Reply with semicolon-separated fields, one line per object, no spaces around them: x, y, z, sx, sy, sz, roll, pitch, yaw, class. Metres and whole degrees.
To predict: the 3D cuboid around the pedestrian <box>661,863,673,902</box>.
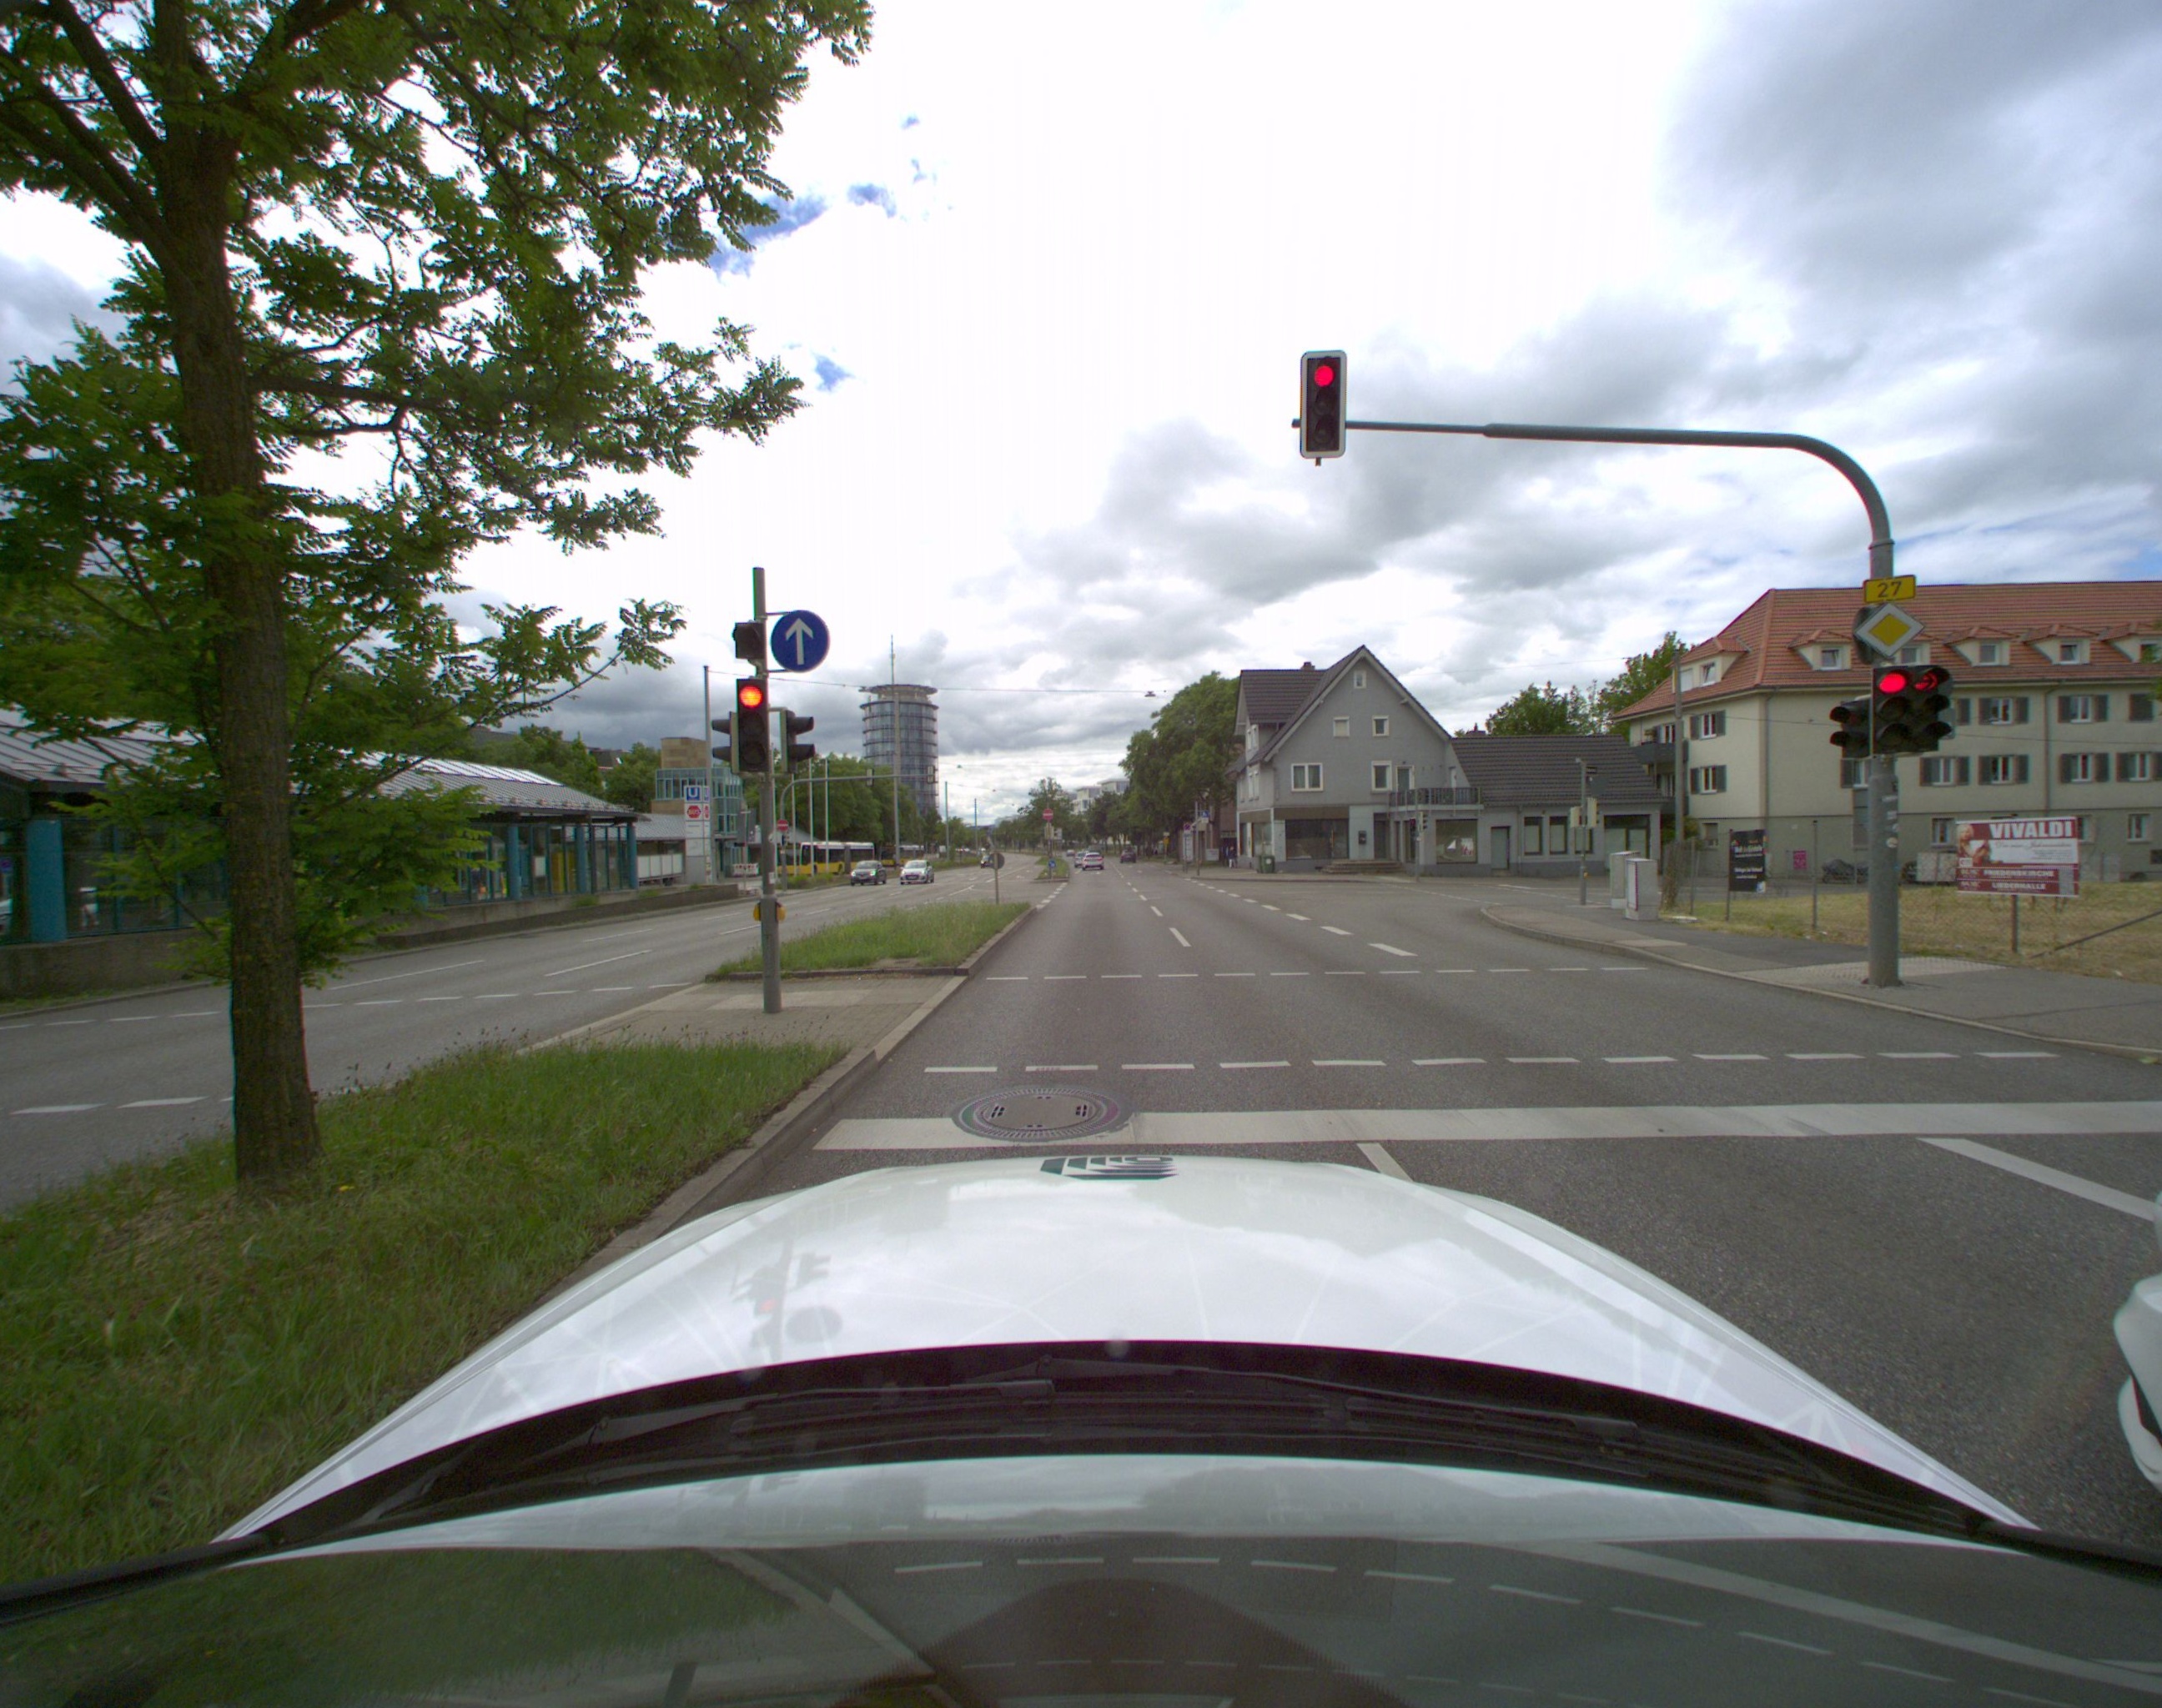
-17.275;1.176;33.994;0.420;1.591;0.353;-2;0;-28;pedestrian

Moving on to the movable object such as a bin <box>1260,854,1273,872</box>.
10.030;0.480;43.954;0.527;0.979;0.737;-2;0;2;movable object such as a bin

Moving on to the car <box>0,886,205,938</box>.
-28.280;1.618;23.438;1.818;1.168;3.997;-2;0;-2;car

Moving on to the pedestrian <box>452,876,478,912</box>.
-27.512;1.770;36.358;0.631;1.571;0.662;0;-1;6;pedestrian

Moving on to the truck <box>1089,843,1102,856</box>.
2.764;-0.808;156.669;2.246;2.416;4.928;-1;0;-3;truck

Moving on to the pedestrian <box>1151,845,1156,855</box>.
11.851;-0.638;133.239;0.649;1.570;0.669;-2;0;-6;pedestrian

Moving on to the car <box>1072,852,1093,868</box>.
0.177;0.602;82.079;1.815;1.540;4.117;-1;0;3;car

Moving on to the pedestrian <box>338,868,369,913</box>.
-27.554;1.372;30.863;0.520;1.655;0.709;-1;0;-5;pedestrian

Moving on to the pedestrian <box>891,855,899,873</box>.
-19.911;1.072;87.050;0.665;1.897;0.679;-2;0;-27;pedestrian

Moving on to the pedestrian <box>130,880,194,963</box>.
-20.445;1.477;18.126;0.528;1.762;0.755;-2;0;-4;pedestrian

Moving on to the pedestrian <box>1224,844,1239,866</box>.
10.864;0.060;58.800;0.698;1.507;0.875;-2;0;31;pedestrian

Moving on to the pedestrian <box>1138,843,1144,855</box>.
10.375;-0.860;140.742;0.967;2.014;0.981;0;-1;1;pedestrian

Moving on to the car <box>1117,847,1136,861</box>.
5.186;-0.001;93.657;1.883;1.494;4.098;-3;-1;0;car

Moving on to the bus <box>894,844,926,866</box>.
-26.031;0.132;124.328;3.134;3.225;7.765;-2;0;1;bus

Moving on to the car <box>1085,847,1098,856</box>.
2.107;-0.464;165.283;2.246;1.757;4.928;-2;0;-3;car

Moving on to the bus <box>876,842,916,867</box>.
-26.089;0.106;115.319;3.135;3.225;10.282;-2;0;0;bus

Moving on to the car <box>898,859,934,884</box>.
-10.341;1.061;51.322;1.680;1.462;3.552;-2;0;-3;car

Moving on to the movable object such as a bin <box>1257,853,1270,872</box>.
10.036;0.464;44.745;0.527;0.979;0.737;-2;0;2;movable object such as a bin

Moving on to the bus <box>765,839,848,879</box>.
-24.323;0.410;72.869;2.975;3.250;10.186;-2;0;6;bus

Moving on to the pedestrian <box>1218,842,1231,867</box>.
10.529;0.061;59.627;0.699;1.780;0.875;-2;0;23;pedestrian

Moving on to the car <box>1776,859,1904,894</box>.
34.039;0.987;36.610;3.972;1.537;1.871;0;0;2;car

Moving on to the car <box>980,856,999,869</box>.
-11.014;0.967;98.124;1.696;1.492;3.562;-2;0;1;car

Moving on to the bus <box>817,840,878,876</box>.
-23.350;0.377;81.868;2.975;3.270;7.889;-2;0;6;bus

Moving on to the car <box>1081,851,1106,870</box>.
1.134;0.549;70.710;1.985;1.477;4.259;-2;0;2;car

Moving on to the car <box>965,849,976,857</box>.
-27.245;-0.161;201.219;1.958;2.014;4.001;0;-1;2;car

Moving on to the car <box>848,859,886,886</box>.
-13.494;1.152;51.533;1.681;1.578;3.344;-2;0;-4;car

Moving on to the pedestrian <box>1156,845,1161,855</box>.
12.696;-0.685;133.060;0.649;1.570;0.669;-2;0;-6;pedestrian

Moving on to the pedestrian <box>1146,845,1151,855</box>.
11.098;-0.607;133.331;0.649;1.570;0.669;-2;0;-6;pedestrian

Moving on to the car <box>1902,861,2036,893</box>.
39.809;1.024;36.572;3.972;1.377;1.871;0;0;2;car

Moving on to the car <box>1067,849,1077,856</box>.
-1.899;-0.345;173.471;1.963;1.420;4.017;-2;0;-3;car
